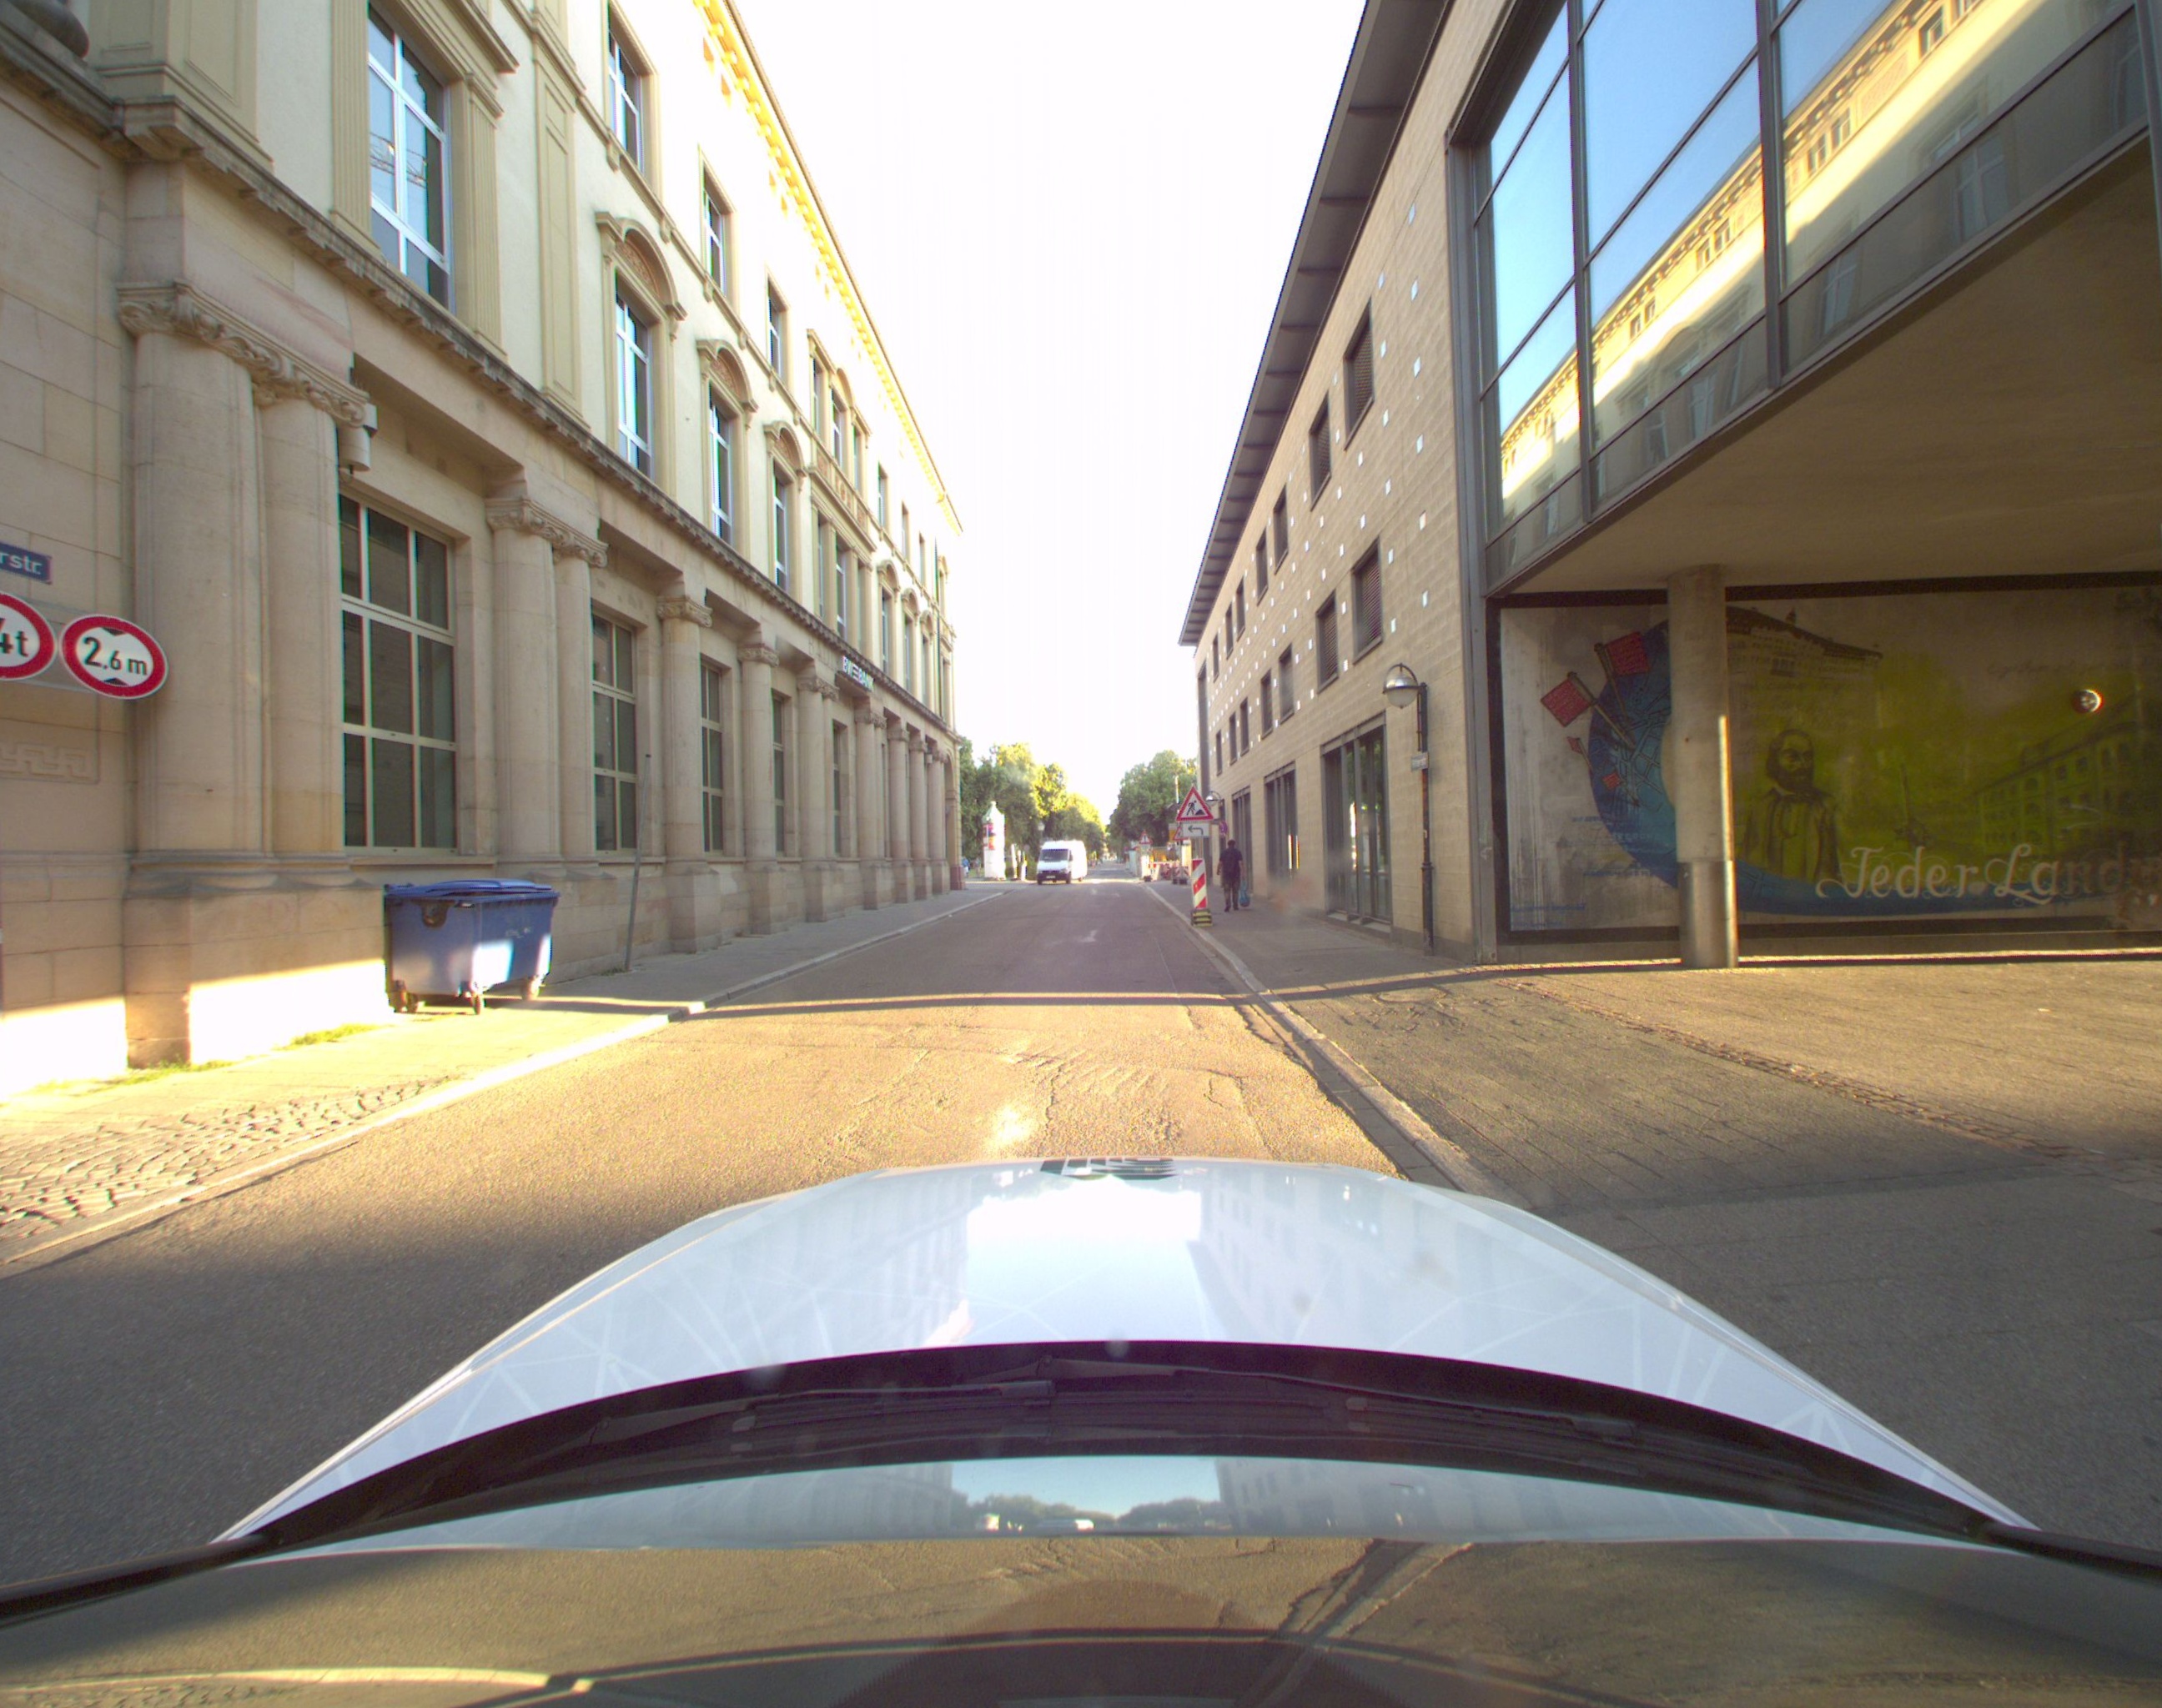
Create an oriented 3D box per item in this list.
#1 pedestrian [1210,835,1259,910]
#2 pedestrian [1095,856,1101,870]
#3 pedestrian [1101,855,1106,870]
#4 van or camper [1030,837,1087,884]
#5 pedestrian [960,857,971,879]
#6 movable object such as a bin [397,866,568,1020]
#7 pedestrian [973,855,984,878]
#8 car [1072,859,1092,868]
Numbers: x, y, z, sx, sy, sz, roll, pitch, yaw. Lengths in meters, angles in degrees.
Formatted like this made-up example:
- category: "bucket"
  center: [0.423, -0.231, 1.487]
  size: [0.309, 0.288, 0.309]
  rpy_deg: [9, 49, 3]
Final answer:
- category: "pedestrian"
  center: [3.853, 0.456, 20.494]
  size: [0.997, 1.803, 0.882]
  rpy_deg: [-3, -1, 1]
- category: "pedestrian"
  center: [2.436, 1.252, 116.032]
  size: [0.609, 2.014, 0.902]
  rpy_deg: [-1, 0, -6]
- category: "pedestrian"
  center: [3.247, 1.210, 115.596]
  size: [0.580, 2.014, 0.680]
  rpy_deg: [-1, -1, -6]
- category: "van or camper"
  center: [-1.235, 0.349, 48.468]
  size: [2.206, 2.585, 6.388]
  rpy_deg: [-2, 0, 9]
- category: "pedestrian"
  center: [-9.434, 1.159, 66.641]
  size: [0.850, 1.807, 0.661]
  rpy_deg: [-1, -1, -11]
- category: "movable object such as a bin"
  center: [-6.387, 0.899, 8.779]
  size: [0.825, 1.503, 1.292]
  rpy_deg: [-1, 0, 3]
- category: "pedestrian"
  center: [-8.426, 1.030, 66.915]
  size: [0.850, 1.807, 0.661]
  rpy_deg: [-1, -1, -11]
- category: "car"
  center: [0.148, 1.902, 161.211]
  size: [3.539, 1.783, 1.795]
  rpy_deg: [-2, -1, 11]
